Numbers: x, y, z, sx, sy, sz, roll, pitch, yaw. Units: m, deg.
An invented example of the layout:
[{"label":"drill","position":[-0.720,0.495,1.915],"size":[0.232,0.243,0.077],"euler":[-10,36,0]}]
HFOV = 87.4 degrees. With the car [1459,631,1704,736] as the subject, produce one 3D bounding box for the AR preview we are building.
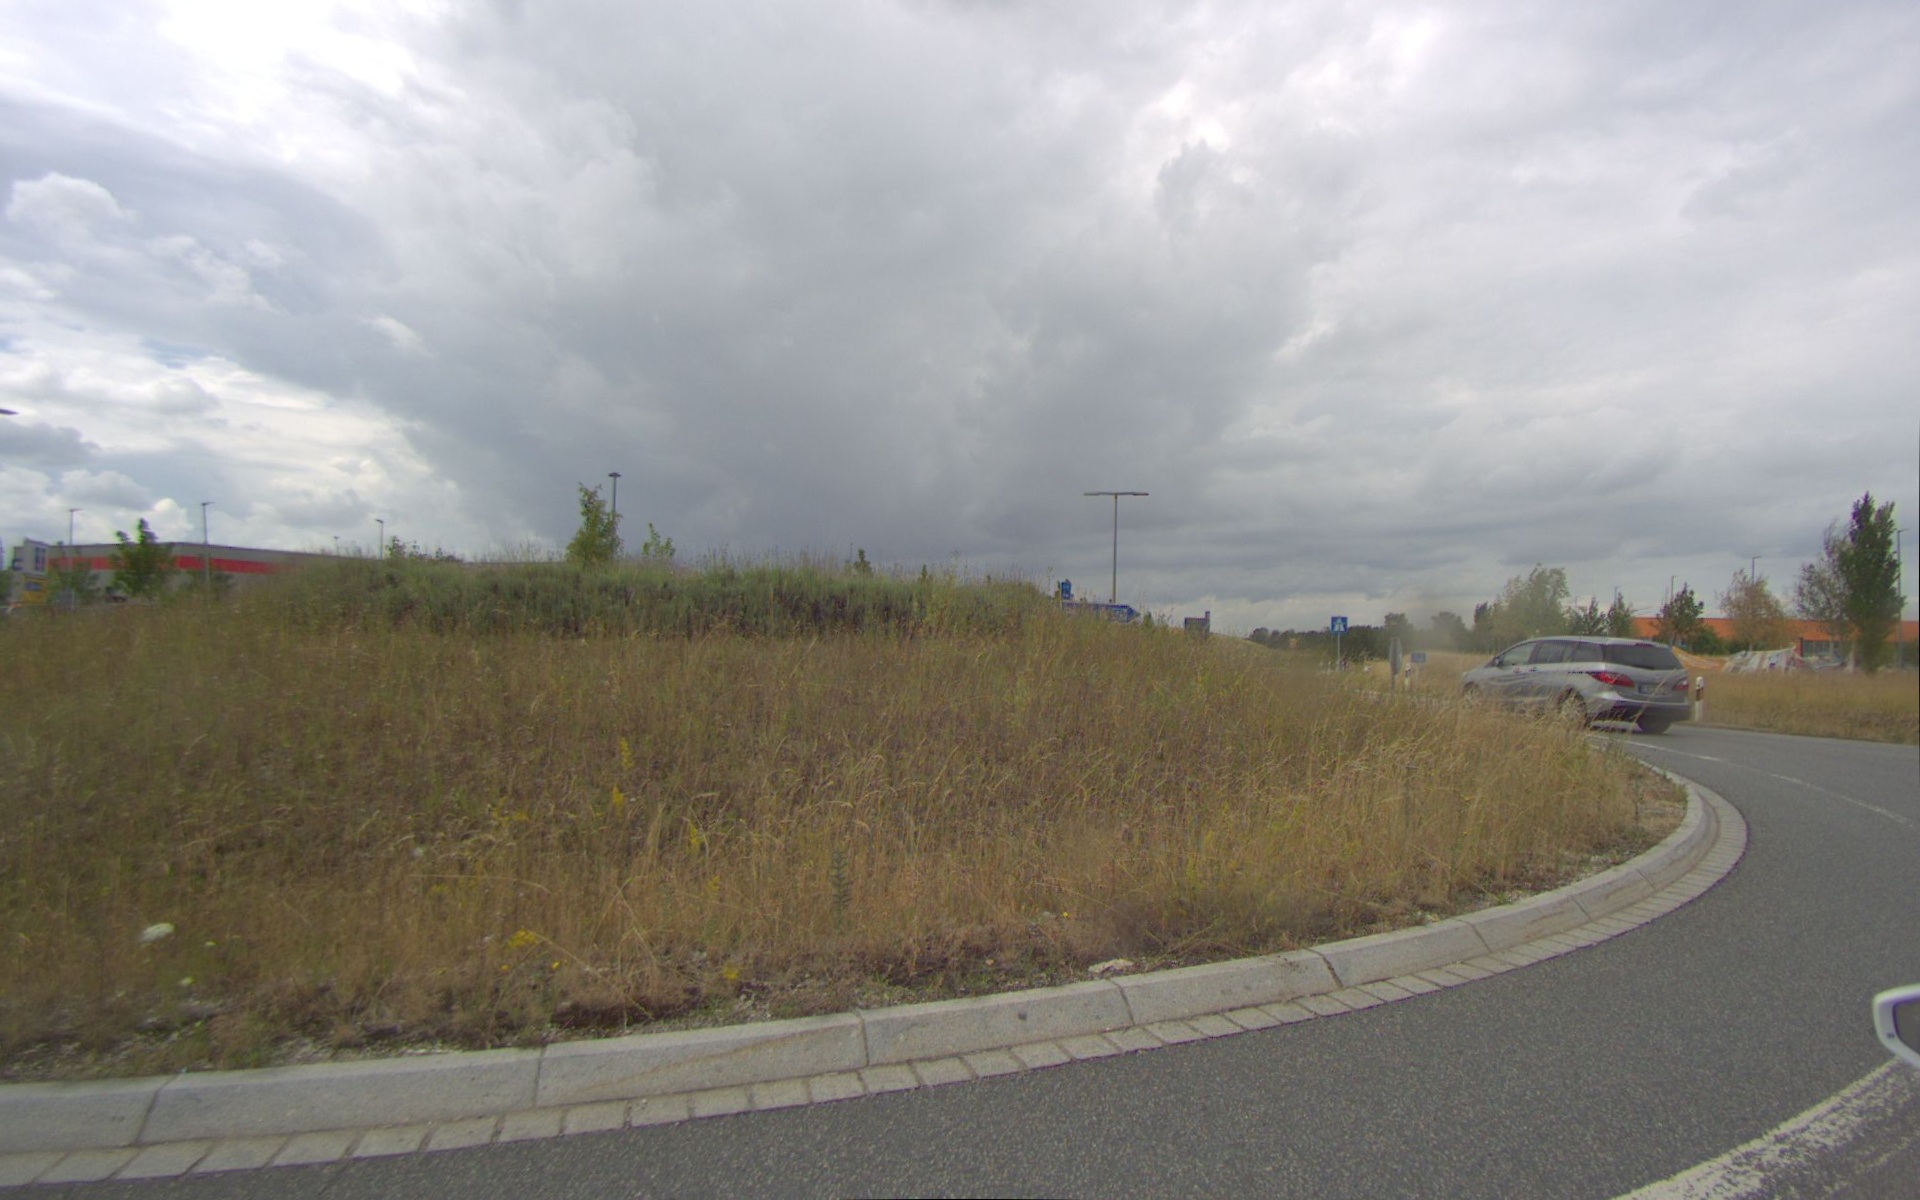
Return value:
[{"label":"car","position":[11.231,1.435,18.514],"size":[1.711,1.619,3.994],"euler":[3,-1,-7]}]
